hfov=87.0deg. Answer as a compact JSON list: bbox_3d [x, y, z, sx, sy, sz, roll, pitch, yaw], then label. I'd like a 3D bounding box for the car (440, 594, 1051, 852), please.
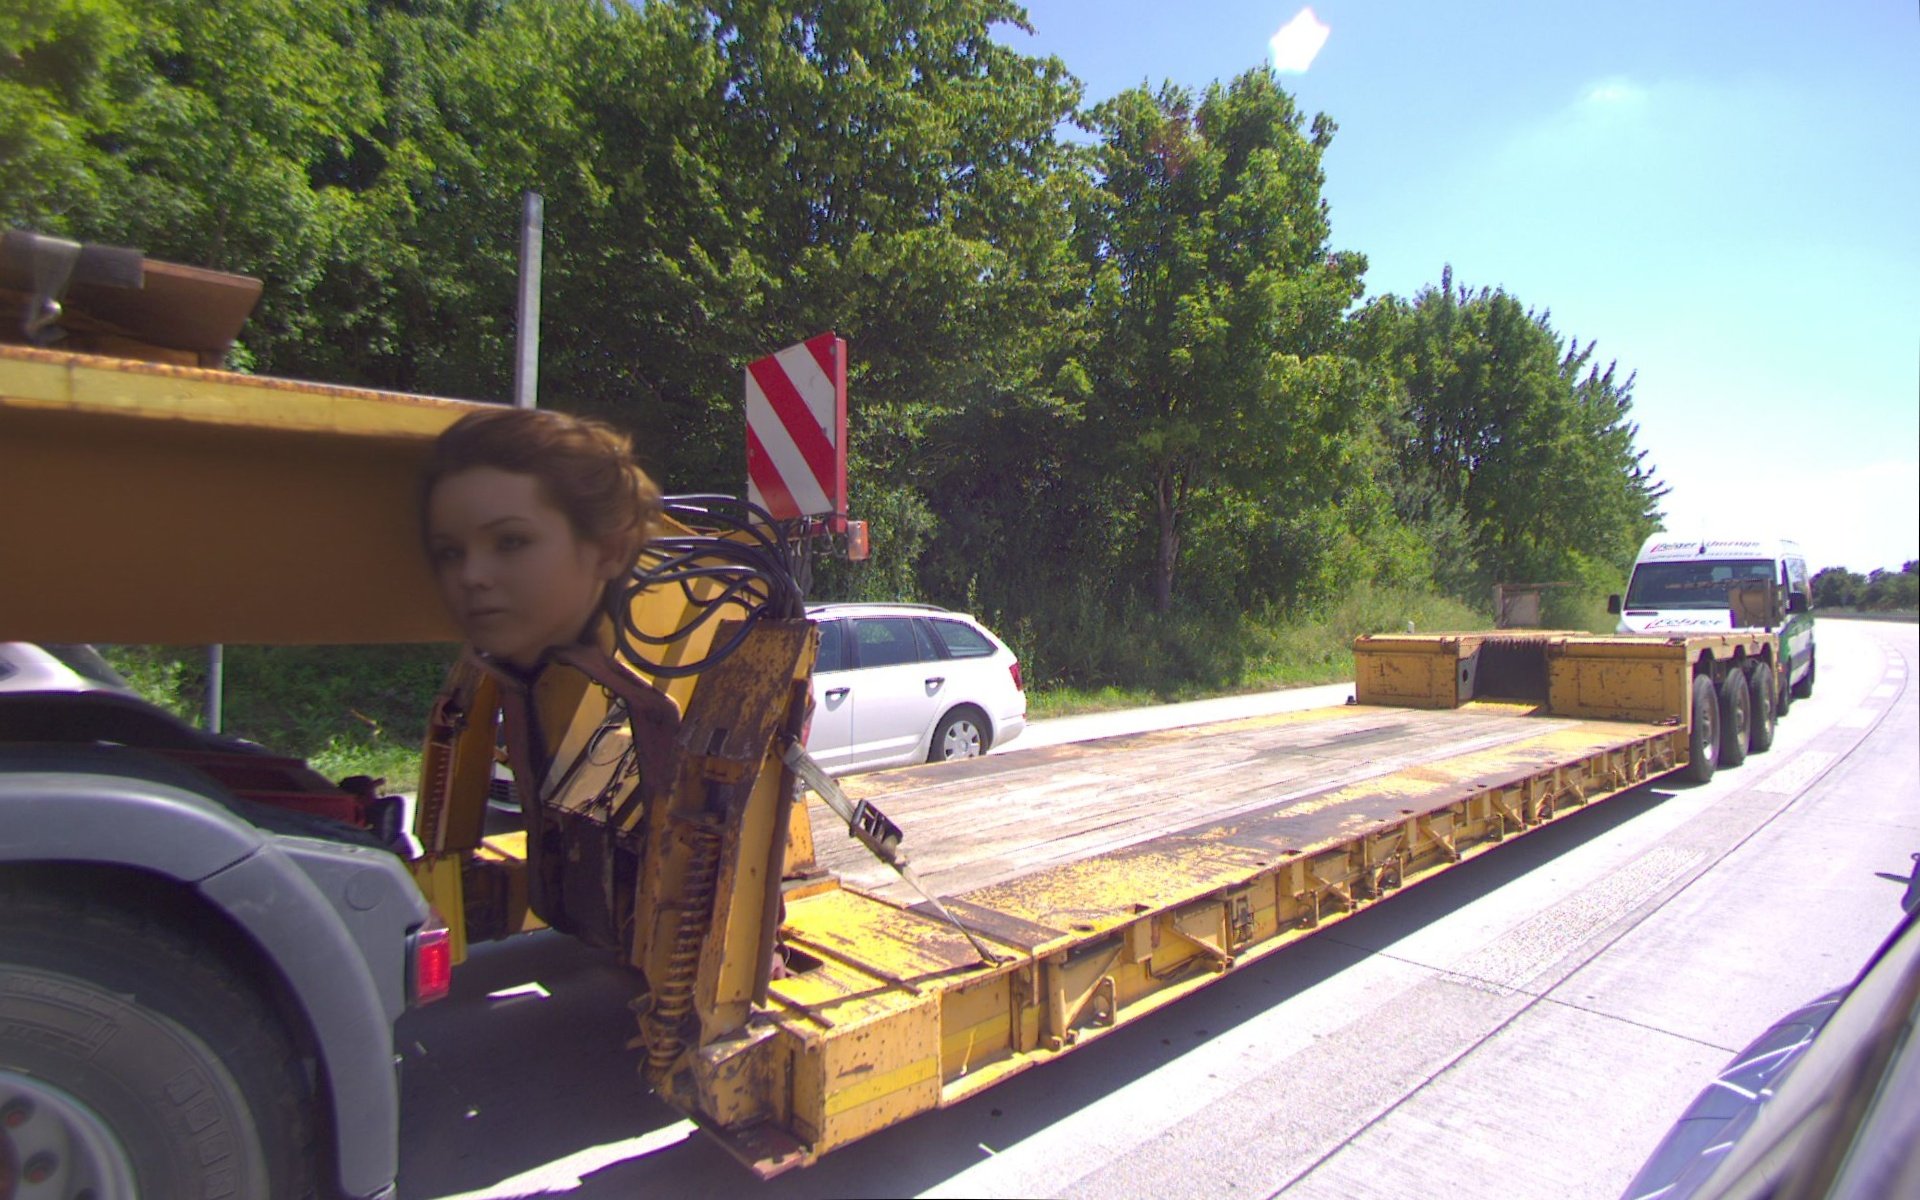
[{"bbox_3d":[-1.437,0.697,8.055,4.521,1.480,1.769,0,0,-43],"label":"car"}]

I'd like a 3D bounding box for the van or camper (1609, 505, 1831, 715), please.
[{"bbox_3d":[11.739,0.092,15.422,2.063,2.606,5.815,0,0,43],"label":"van or camper"}]

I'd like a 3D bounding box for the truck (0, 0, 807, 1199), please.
[{"bbox_3d":[-4.046,-0.507,0.856,7.342,3.820,3.017,0,0,-42],"label":"truck"}]

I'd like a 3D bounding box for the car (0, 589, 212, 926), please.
[{"bbox_3d":[-5.839,0.705,4.174,4.290,1.480,1.770,-1,1,-42],"label":"car"}]

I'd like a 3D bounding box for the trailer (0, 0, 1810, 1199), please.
[{"bbox_3d":[1.841,0.107,6.207,16.076,2.626,3.031,0,0,-42],"label":"trailer"}]
